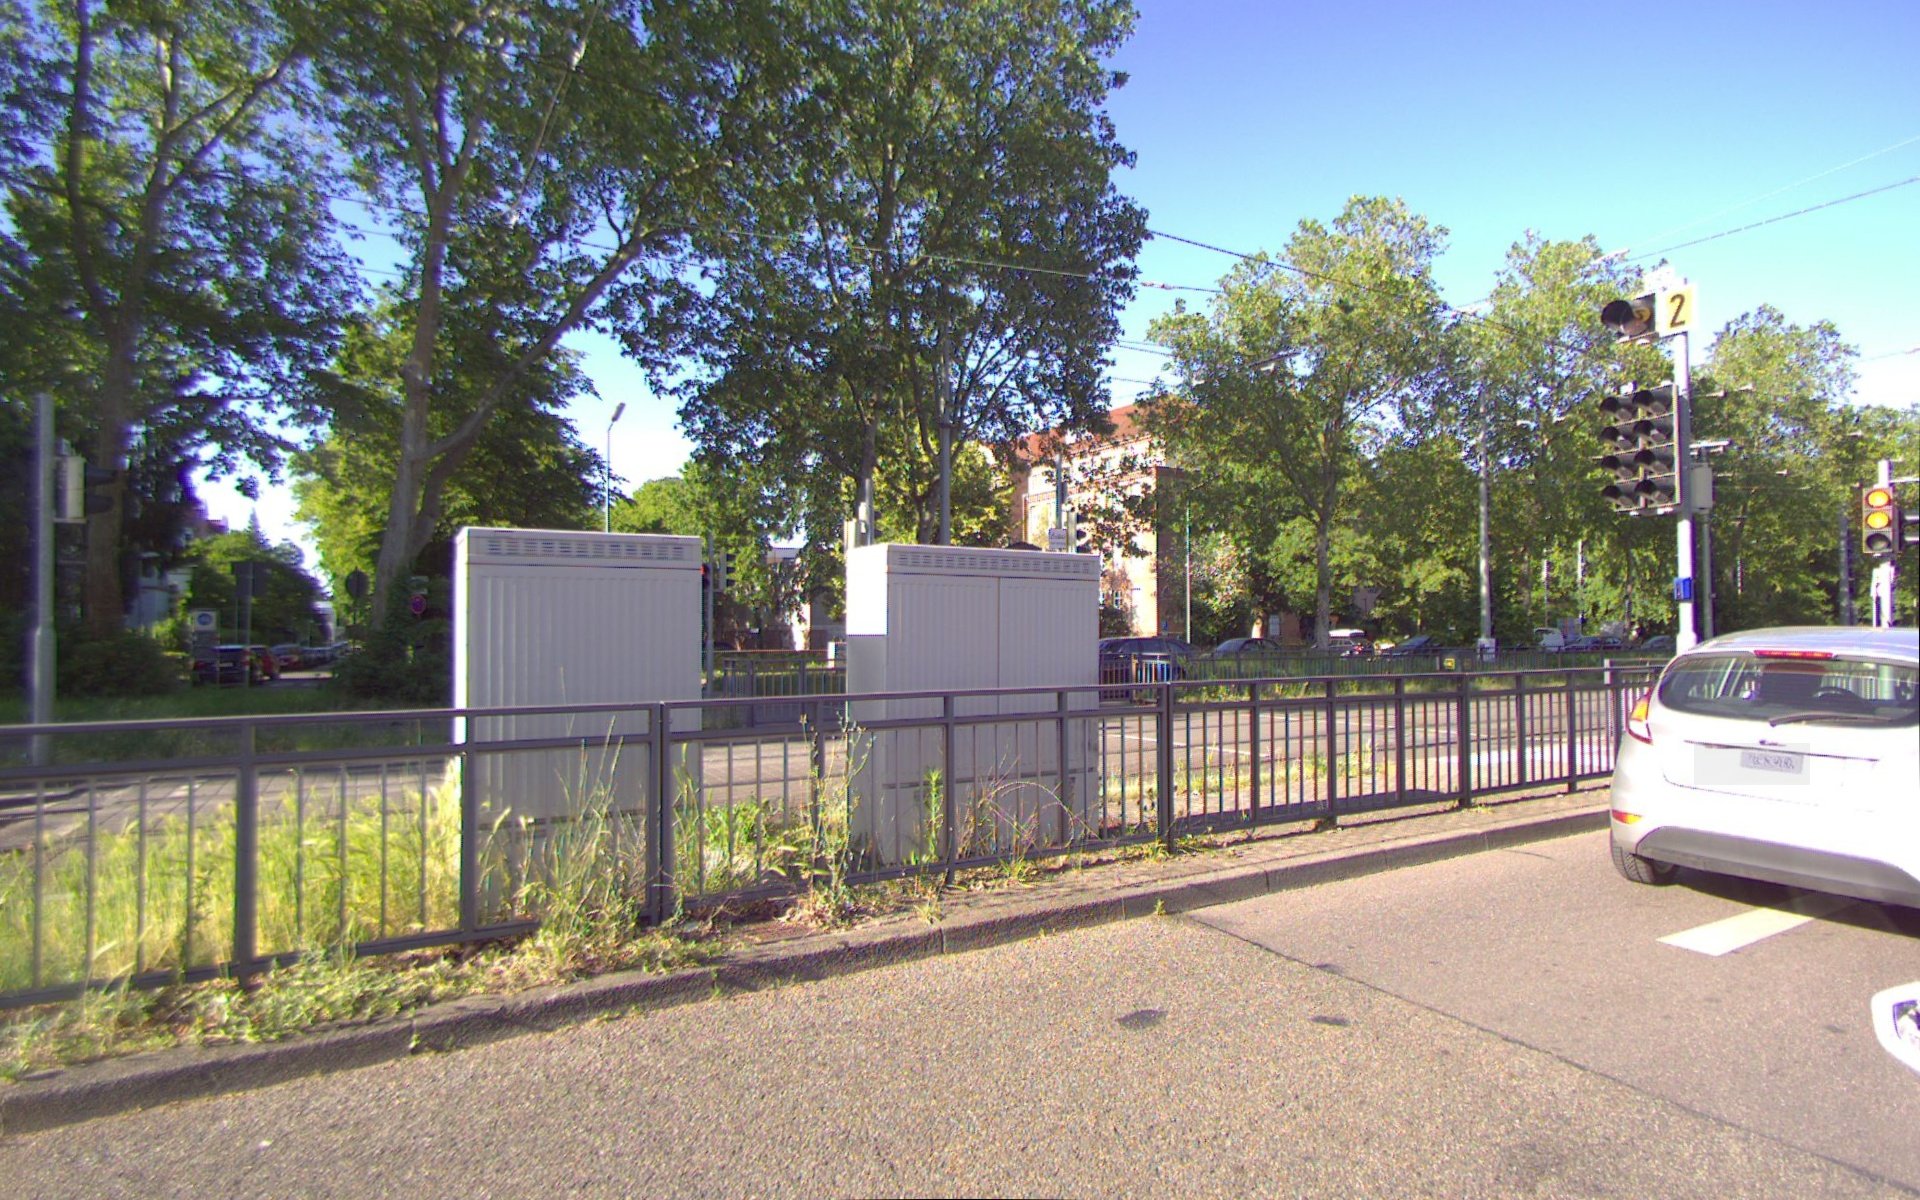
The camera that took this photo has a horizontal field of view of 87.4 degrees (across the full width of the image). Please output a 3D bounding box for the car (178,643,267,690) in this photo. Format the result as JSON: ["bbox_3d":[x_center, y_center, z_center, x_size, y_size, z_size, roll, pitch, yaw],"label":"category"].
[{"bbox_3d":[-25.321,2.241,34.619,1.976,1.437,3.970,1,-1,-29],"label":"car"}]

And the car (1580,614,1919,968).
[{"bbox_3d":[5.314,0.838,5.765,3.850,1.487,1.599,1,-1,-35],"label":"car"}]

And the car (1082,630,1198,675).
[{"bbox_3d":[6.529,1.849,36.414,4.098,1.529,1.661,1,-1,-32],"label":"car"}]

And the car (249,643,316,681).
[{"bbox_3d":[-28.440,2.557,42.288,1.976,1.437,3.970,1,-1,-29],"label":"car"}]

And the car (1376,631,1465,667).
[{"bbox_3d":[20.855,2.169,45.457,4.098,1.529,1.660,1,-2,-32],"label":"car"}]

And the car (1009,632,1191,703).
[{"bbox_3d":[3.370,1.532,23.865,4.297,1.518,1.674,1,-1,-33],"label":"car"}]

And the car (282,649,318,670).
[{"bbox_3d":[-38.033,3.417,57.948,1.513,1.134,3.102,1,-2,-29],"label":"car"}]

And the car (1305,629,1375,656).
[{"bbox_3d":[21.915,2.427,58.101,1.375,1.514,3.974,1,-2,-26],"label":"car"}]

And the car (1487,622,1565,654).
[{"bbox_3d":[28.294,1.885,50.206,4.098,1.529,1.660,1,-1,-32],"label":"car"}]

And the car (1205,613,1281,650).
[{"bbox_3d":[16.177,1.806,57.383,3.953,2.040,1.984,1,-1,-30],"label":"car"}]

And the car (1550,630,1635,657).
[{"bbox_3d":[33.512,2.294,53.160,4.795,1.366,1.926,2,-2,-32],"label":"car"}]
